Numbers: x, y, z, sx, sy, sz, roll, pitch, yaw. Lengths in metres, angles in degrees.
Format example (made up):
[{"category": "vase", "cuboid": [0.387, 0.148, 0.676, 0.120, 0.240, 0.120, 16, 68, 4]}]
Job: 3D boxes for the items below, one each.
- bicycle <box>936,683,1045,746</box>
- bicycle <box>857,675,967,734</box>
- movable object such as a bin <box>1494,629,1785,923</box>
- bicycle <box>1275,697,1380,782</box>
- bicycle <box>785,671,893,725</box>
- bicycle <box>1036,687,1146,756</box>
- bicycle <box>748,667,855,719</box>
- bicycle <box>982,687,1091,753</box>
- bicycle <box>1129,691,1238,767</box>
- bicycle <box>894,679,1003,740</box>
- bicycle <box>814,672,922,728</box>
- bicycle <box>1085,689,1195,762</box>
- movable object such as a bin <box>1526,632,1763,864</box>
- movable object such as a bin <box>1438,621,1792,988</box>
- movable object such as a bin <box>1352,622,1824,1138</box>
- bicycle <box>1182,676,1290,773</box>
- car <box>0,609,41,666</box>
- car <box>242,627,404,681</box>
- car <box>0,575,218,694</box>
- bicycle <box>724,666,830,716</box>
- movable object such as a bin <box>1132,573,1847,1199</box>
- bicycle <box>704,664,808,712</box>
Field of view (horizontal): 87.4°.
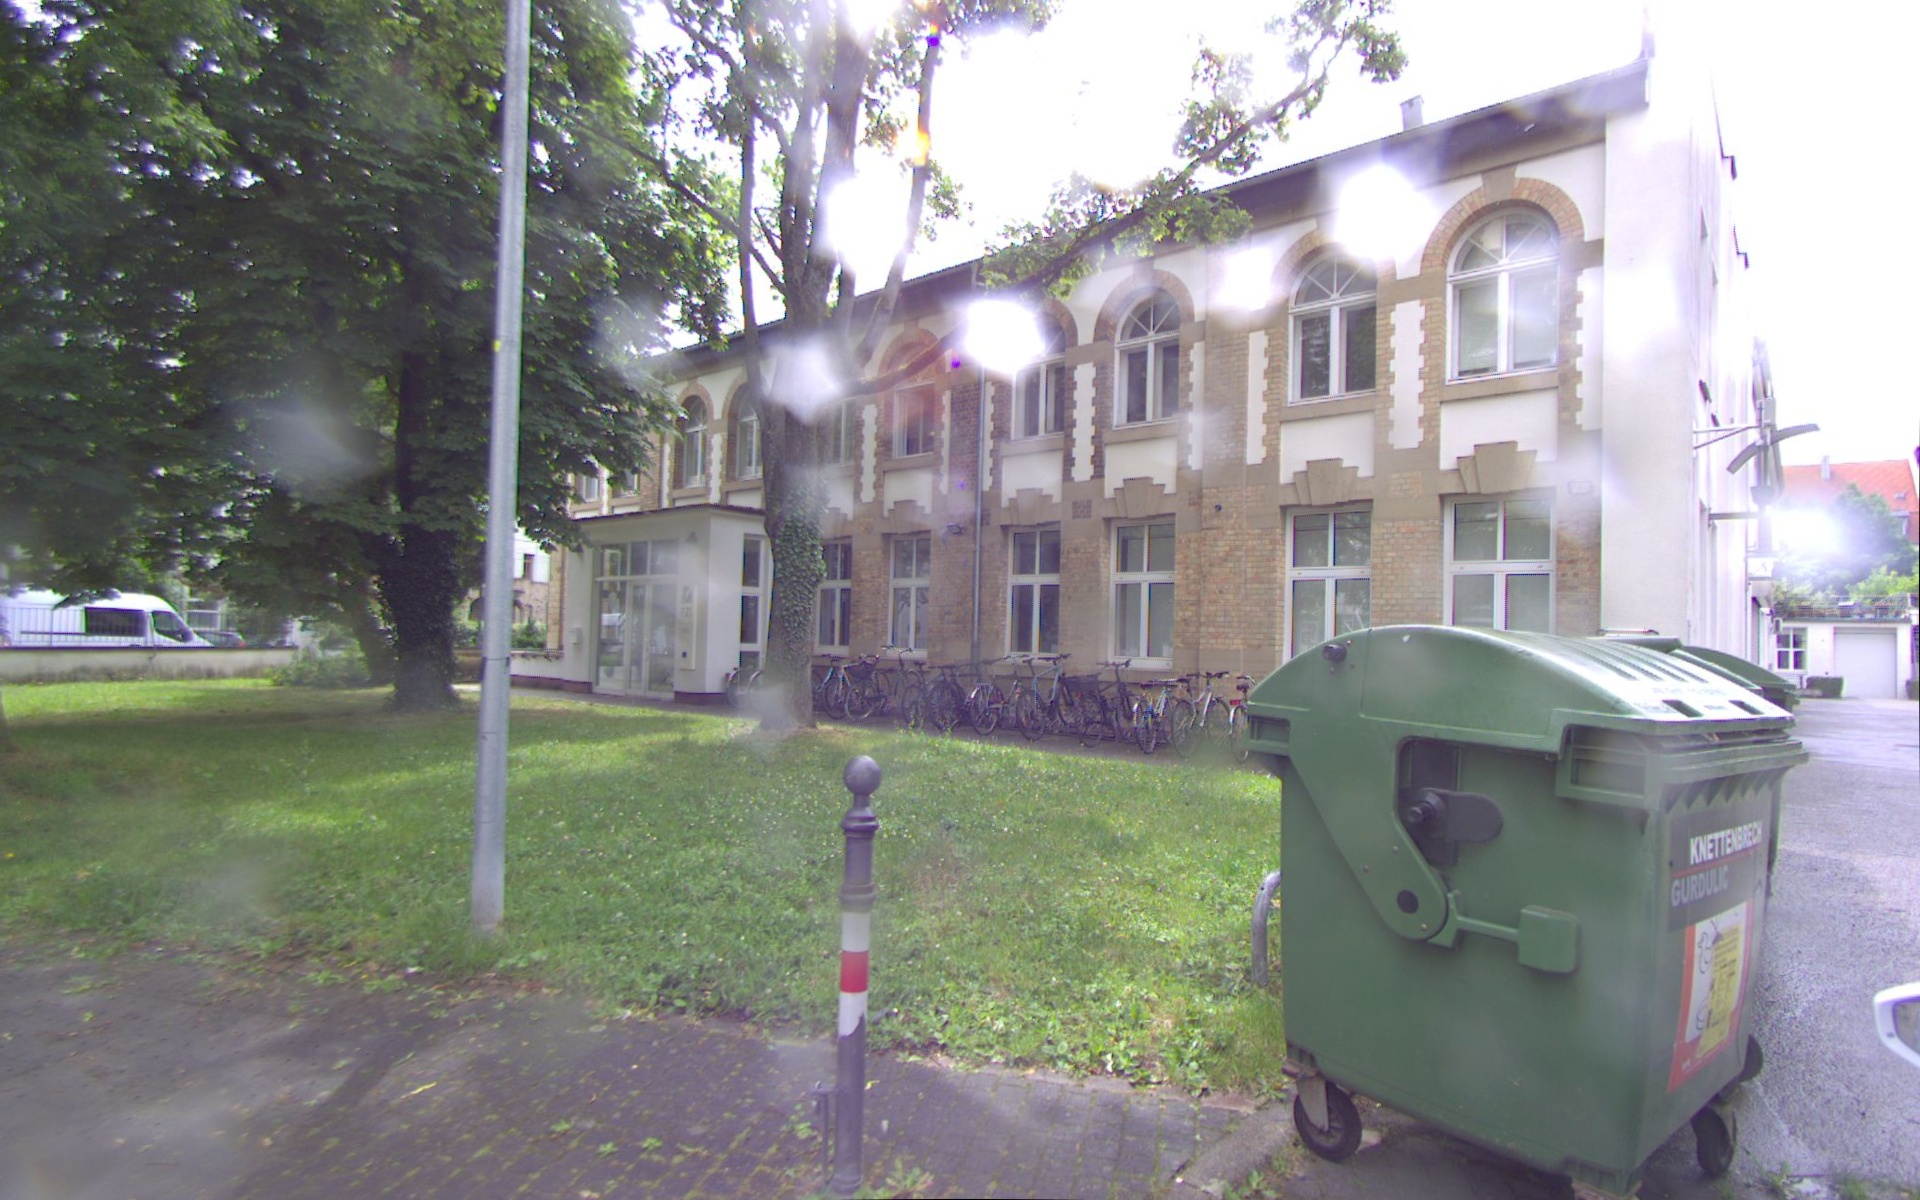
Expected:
[{"category": "bicycle", "cuboid": [0.499, 1.701, 15.160, 0.446, 0.810, 2.047, 2, -1, 40]}, {"category": "bicycle", "cuboid": [-0.734, 1.647, 16.092, 0.446, 0.810, 2.047, 2, -1, 40]}, {"category": "movable object such as a bin", "cuboid": [4.242, 0.964, 6.249, 1.343, 1.490, 1.359, 2, -1, 40]}, {"category": "bicycle", "cuboid": [4.313, 1.584, 11.697, 0.446, 0.810, 2.047, 2, -1, 40]}, {"category": "bicycle", "cuboid": [-2.035, 1.647, 17.190, 0.446, 0.810, 2.047, 2, -1, 40]}, {"category": "bicycle", "cuboid": [1.851, 1.652, 13.935, 0.446, 0.810, 2.047, 2, -1, 40]}, {"category": "bicycle", "cuboid": [-2.779, 1.622, 17.810, 0.446, 0.810, 2.047, 2, -1, 40]}, {"category": "bicycle", "cuboid": [1.145, 1.706, 14.584, 0.446, 0.810, 2.047, 2, -1, 40]}, {"category": "bicycle", "cuboid": [2.921, 1.631, 12.976, 0.446, 0.810, 2.047, 2, -1, 40]}, {"category": "bicycle", "cuboid": [-0.146, 1.677, 15.584, 0.446, 0.810, 2.047, 2, -1, 40]}, {"category": "bicycle", "cuboid": [-1.504, 1.643, 16.737, 0.446, 0.810, 2.047, 2, -1, 40]}, {"category": "bicycle", "cuboid": [2.434, 1.639, 13.376, 0.446, 0.810, 2.047, 2, -1, 40]}, {"category": "movable object such as a bin", "cuboid": [5.229, 1.026, 7.659, 1.343, 1.490, 1.359, 2, -1, 40]}, {"category": "movable object such as a bin", "cuboid": [3.381, 0.891, 5.170, 1.343, 1.490, 1.346, 2, -1, 40]}, {"category": "movable object such as a bin", "cuboid": [2.510, 0.872, 3.999, 1.343, 1.490, 1.458, 2, -1, 40]}, {"category": "bicycle", "cuboid": [3.476, 1.508, 12.522, 0.446, 1.051, 2.047, 2, -1, 40]}, {"category": "car", "cuboid": [-34.923, 1.251, 34.891, 4.038, 1.957, 1.776, 3, -4, -31]}, {"category": "car", "cuboid": [-19.957, 1.731, 31.701, 1.873, 1.541, 4.147, 1, -4, 12]}, {"category": "car", "cuboid": [-21.565, 0.924, 24.749, 2.052, 2.614, 5.086, 1, -4, 12]}, {"category": "bicycle", "cuboid": [-3.297, 1.627, 18.268, 0.446, 0.810, 2.047, 2, -1, 40]}, {"category": "movable object such as a bin", "cuboid": [1.506, 0.718, 2.826, 1.392, 1.490, 1.554, 2, -1, 40]}, {"category": "bicycle", "cuboid": [-3.765, 1.614, 18.688, 0.446, 0.810, 2.047, 2, -1, 40]}]
